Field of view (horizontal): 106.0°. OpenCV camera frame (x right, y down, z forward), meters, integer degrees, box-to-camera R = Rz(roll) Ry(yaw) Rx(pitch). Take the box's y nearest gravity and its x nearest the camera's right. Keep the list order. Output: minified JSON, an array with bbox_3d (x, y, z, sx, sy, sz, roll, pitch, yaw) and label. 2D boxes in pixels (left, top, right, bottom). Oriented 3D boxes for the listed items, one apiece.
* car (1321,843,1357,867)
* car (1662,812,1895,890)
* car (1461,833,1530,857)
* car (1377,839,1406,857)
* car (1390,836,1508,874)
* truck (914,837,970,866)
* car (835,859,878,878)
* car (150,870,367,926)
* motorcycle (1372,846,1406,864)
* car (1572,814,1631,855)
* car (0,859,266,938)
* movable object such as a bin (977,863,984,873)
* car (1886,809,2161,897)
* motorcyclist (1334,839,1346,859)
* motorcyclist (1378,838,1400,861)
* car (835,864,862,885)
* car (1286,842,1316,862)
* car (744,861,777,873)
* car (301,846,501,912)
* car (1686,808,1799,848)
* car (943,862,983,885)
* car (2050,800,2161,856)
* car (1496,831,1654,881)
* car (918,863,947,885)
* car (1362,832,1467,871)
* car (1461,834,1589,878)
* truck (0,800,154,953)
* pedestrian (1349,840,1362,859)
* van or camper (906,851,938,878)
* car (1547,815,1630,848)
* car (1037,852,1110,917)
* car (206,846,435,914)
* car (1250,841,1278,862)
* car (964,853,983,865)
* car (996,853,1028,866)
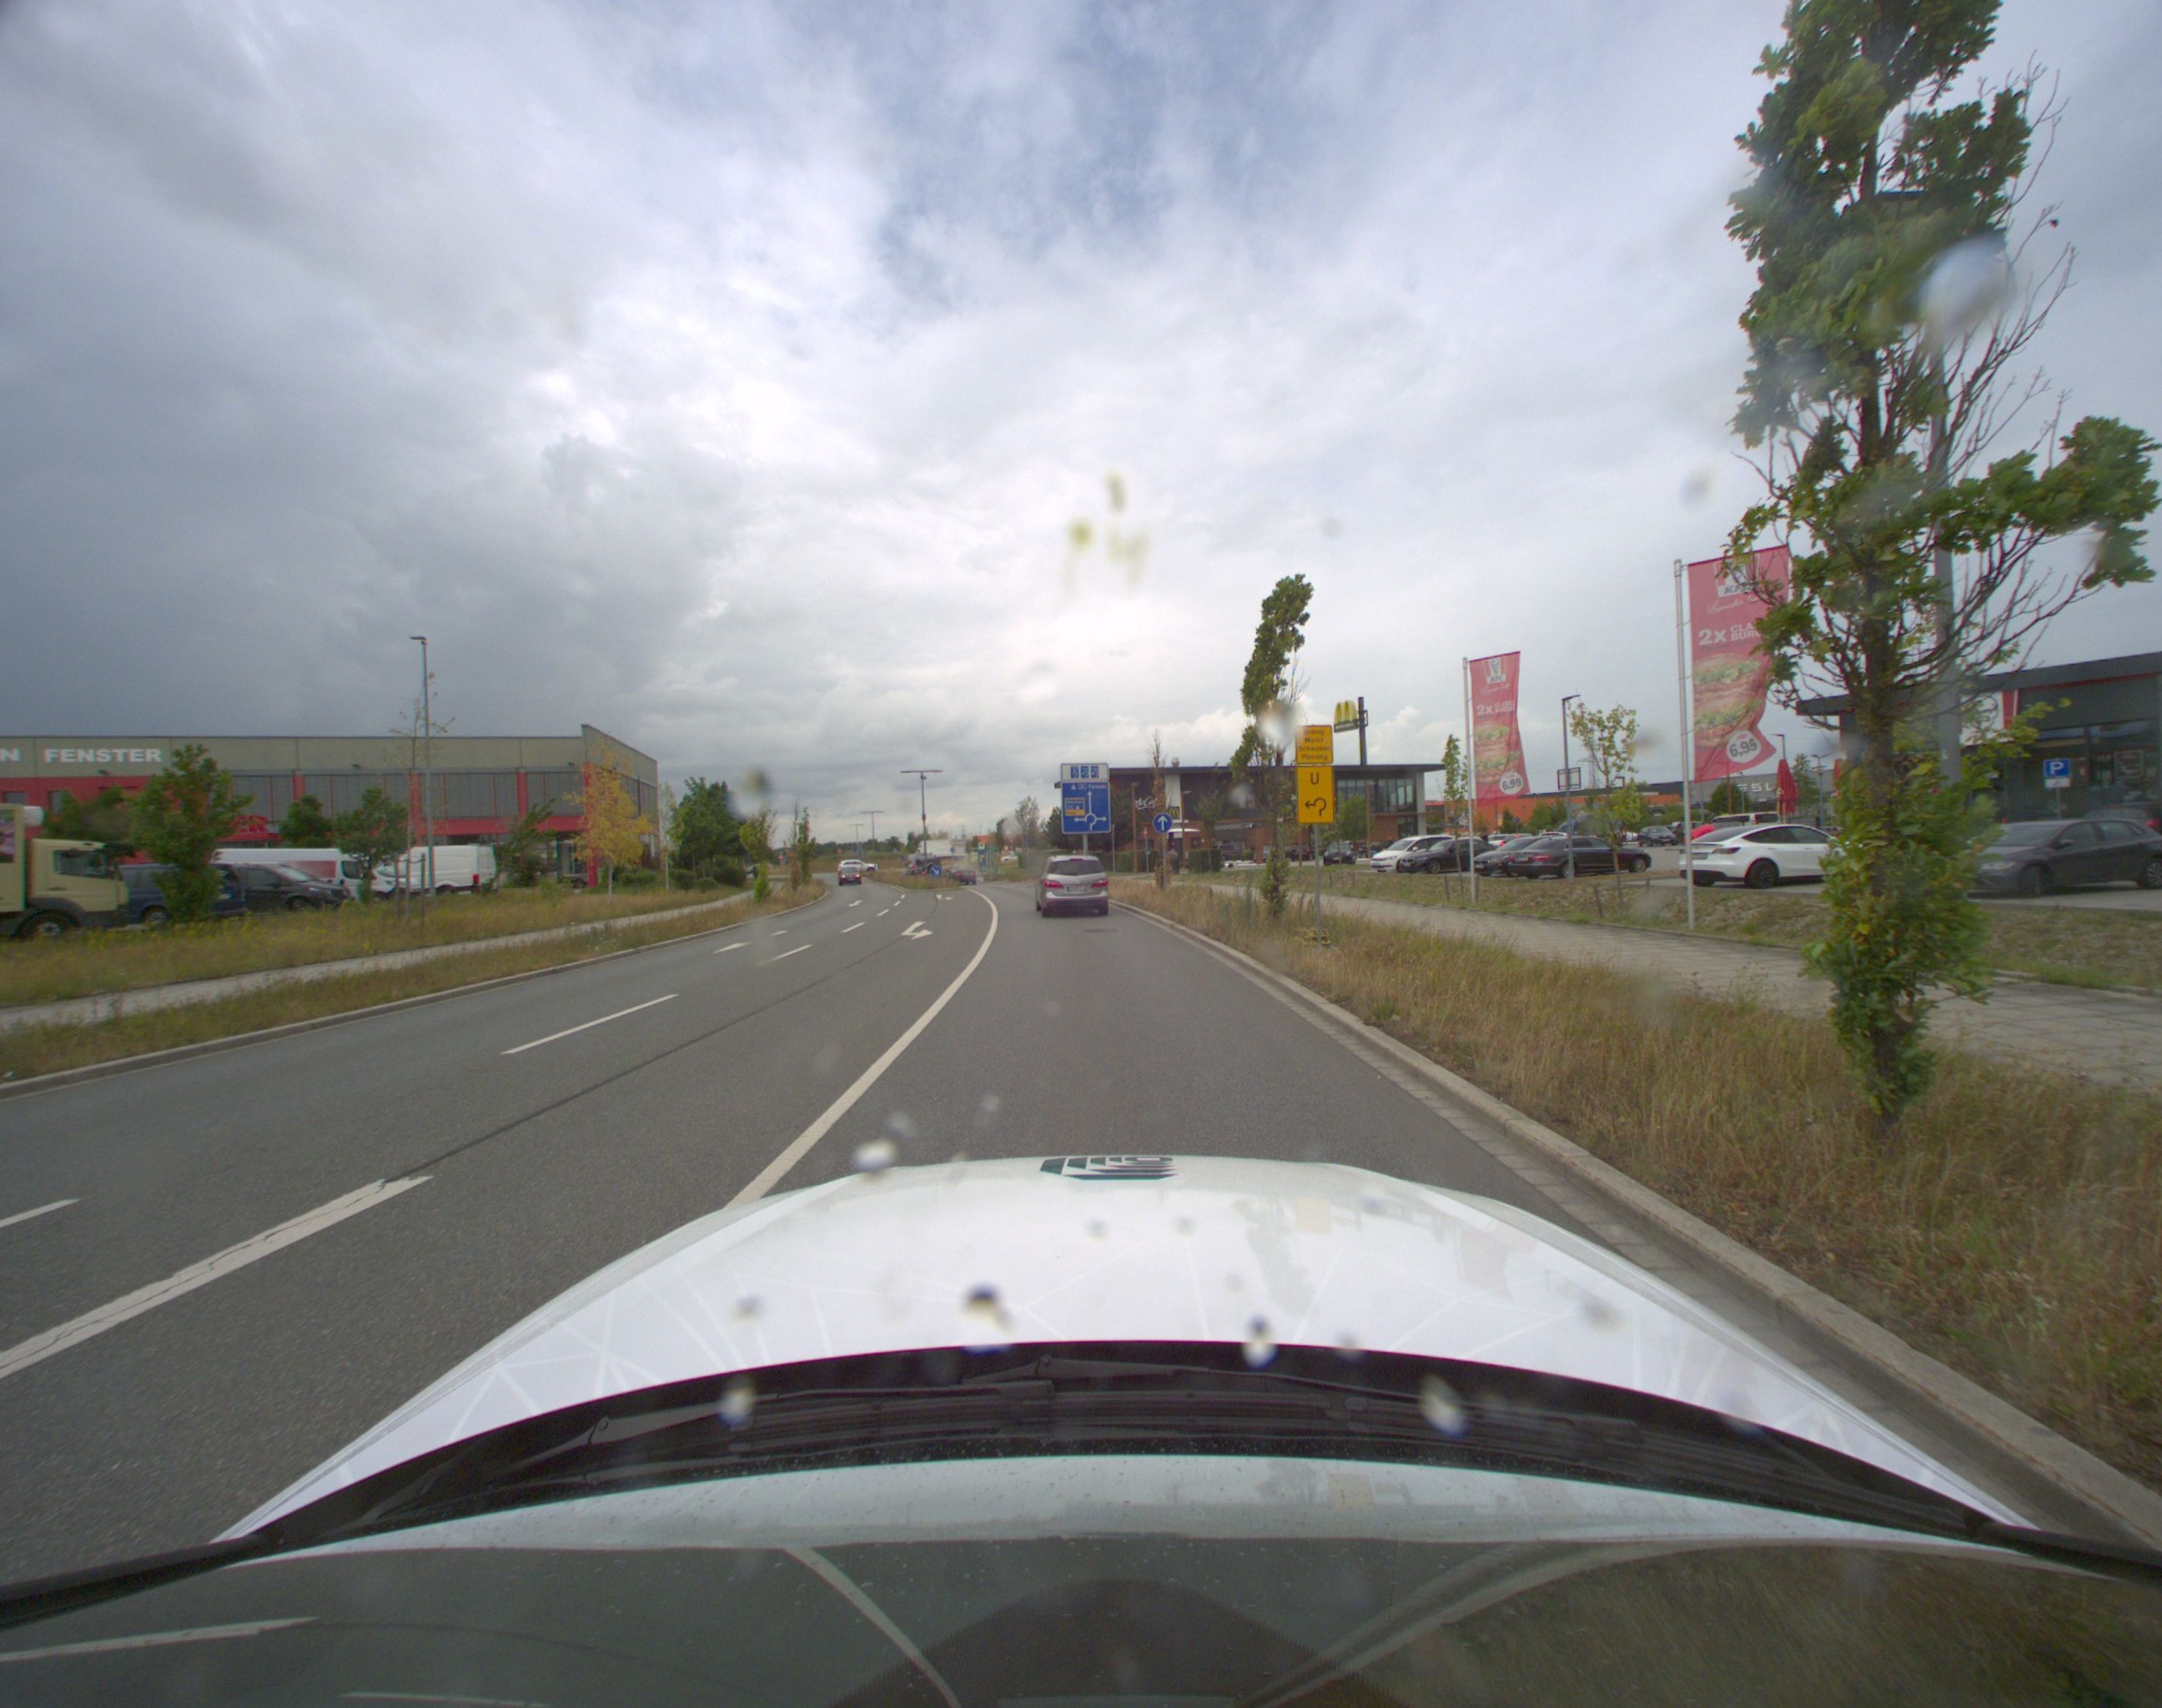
[{"bbox_3d":[15.861,0.015,50.010,1.795,1.313,3.870,-3,0,21],"label":"car"},{"bbox_3d":[18.284,-0.076,21.470,4.556,1.645,2.084,-4,0,-7],"label":"car"},{"bbox_3d":[32.842,-0.728,64.710,4.676,1.656,2.011,-3,0,22],"label":"car"},{"bbox_3d":[29.316,-0.592,76.970,1.980,1.581,4.014,-2,0,13],"label":"car"},{"bbox_3d":[16.383,0.049,36.284,4.475,1.436,2.064,-3,0,-15],"label":"car"},{"bbox_3d":[-21.233,-0.327,124.238,9.216,3.906,3.163,-3,0,41],"label":"truck"},{"bbox_3d":[-26.607,1.747,96.650,4.613,2.013,1.992,-2,0,-12],"label":"car"},{"bbox_3d":[-28.566,1.482,28.506,4.915,1.617,1.983,-2,0,-18],"label":"car"},{"bbox_3d":[18.452,0.058,48.803,0.742,0.985,1.807,-2,0,-28],"label":"motorcycle"},{"bbox_3d":[35.607,-1.338,55.875,2.253,2.501,7.370,-3,0,24],"label":"car"},{"bbox_3d":[-27.810,1.253,24.043,4.898,1.990,2.173,-2,0,-8],"label":"car"},{"bbox_3d":[-8.614,1.194,69.921,0.457,0.798,0.377,-2,-1,-19],"label":"movable object such as a bin"},{"bbox_3d":[19.214,-0.024,16.489,3.977,1.484,1.938,-3,-1,-3],"label":"car"},{"bbox_3d":[23.686,-0.473,74.477,0.953,1.832,0.849,-2,0,20],"label":"motorcyclist"},{"bbox_3d":[18.476,-0.269,48.782,0.784,1.334,0.888,-2,0,-28],"label":"motorcyclist"},{"bbox_3d":[-20.731,1.824,72.532,1.806,1.669,4.294,-5,0,-22],"label":"car"},{"bbox_3d":[20.150,-0.156,74.522,2.097,1.717,4.254,-2,0,23],"label":"car"},{"bbox_3d":[-45.755,1.883,116.159,4.017,1.407,1.827,-5,0,-34],"label":"car"},{"bbox_3d":[-30.203,1.054,36.445,6.419,2.598,2.232,-2,0,-15],"label":"car"},{"bbox_3d":[43.098,-1.653,53.269,2.522,2.351,5.685,-3,0,-3],"label":"car"},{"bbox_3d":[-8.002,1.289,54.913,1.850,1.418,4.197,-3,0,-19],"label":"car"},{"bbox_3d":[32.141,-0.823,24.675,4.375,1.519,2.035,-3,0,-18],"label":"car"},{"bbox_3d":[17.183,0.058,28.416,4.519,1.469,2.024,-3,0,-11],"label":"car"},{"bbox_3d":[-13.208,1.755,72.223,2.062,1.826,4.760,-2,0,-16],"label":"car"},{"bbox_3d":[15.825,-0.116,38.736,4.358,1.639,1.926,-3,0,-17],"label":"car"},{"bbox_3d":[17.076,0.073,31.390,4.088,1.438,1.934,-3,0,-13],"label":"car"},{"bbox_3d":[-26.981,0.572,17.715,2.824,3.541,8.475,-2,0,22],"label":"truck"},{"bbox_3d":[22.123,-0.370,65.618,0.761,1.439,0.628,-3,0,41],"label":"pedestrian"},{"bbox_3d":[-15.583,1.021,79.379,2.310,2.506,5.172,-2,0,-19],"label":"van or camper"},{"bbox_3d":[43.873,-1.954,70.572,5.969,2.528,2.296,-2,0,32],"label":"car"},{"bbox_3d":[-0.286,0.770,22.332,1.726,1.600,3.801,-1,0,-4],"label":"car"},{"bbox_3d":[-29.186,0.953,31.544,6.081,2.307,2.198,-2,0,-16],"label":"car"},{"bbox_3d":[16.392,-0.221,72.925,1.977,1.717,4.020,-2,0,19],"label":"car"},{"bbox_3d":[-15.174,0.745,114.458,1.998,1.515,3.977,-2,0,-16],"label":"car"},{"bbox_3d":[-10.537,0.827,124.125,4.599,1.757,1.994,-2,0,-8],"label":"car"}]
